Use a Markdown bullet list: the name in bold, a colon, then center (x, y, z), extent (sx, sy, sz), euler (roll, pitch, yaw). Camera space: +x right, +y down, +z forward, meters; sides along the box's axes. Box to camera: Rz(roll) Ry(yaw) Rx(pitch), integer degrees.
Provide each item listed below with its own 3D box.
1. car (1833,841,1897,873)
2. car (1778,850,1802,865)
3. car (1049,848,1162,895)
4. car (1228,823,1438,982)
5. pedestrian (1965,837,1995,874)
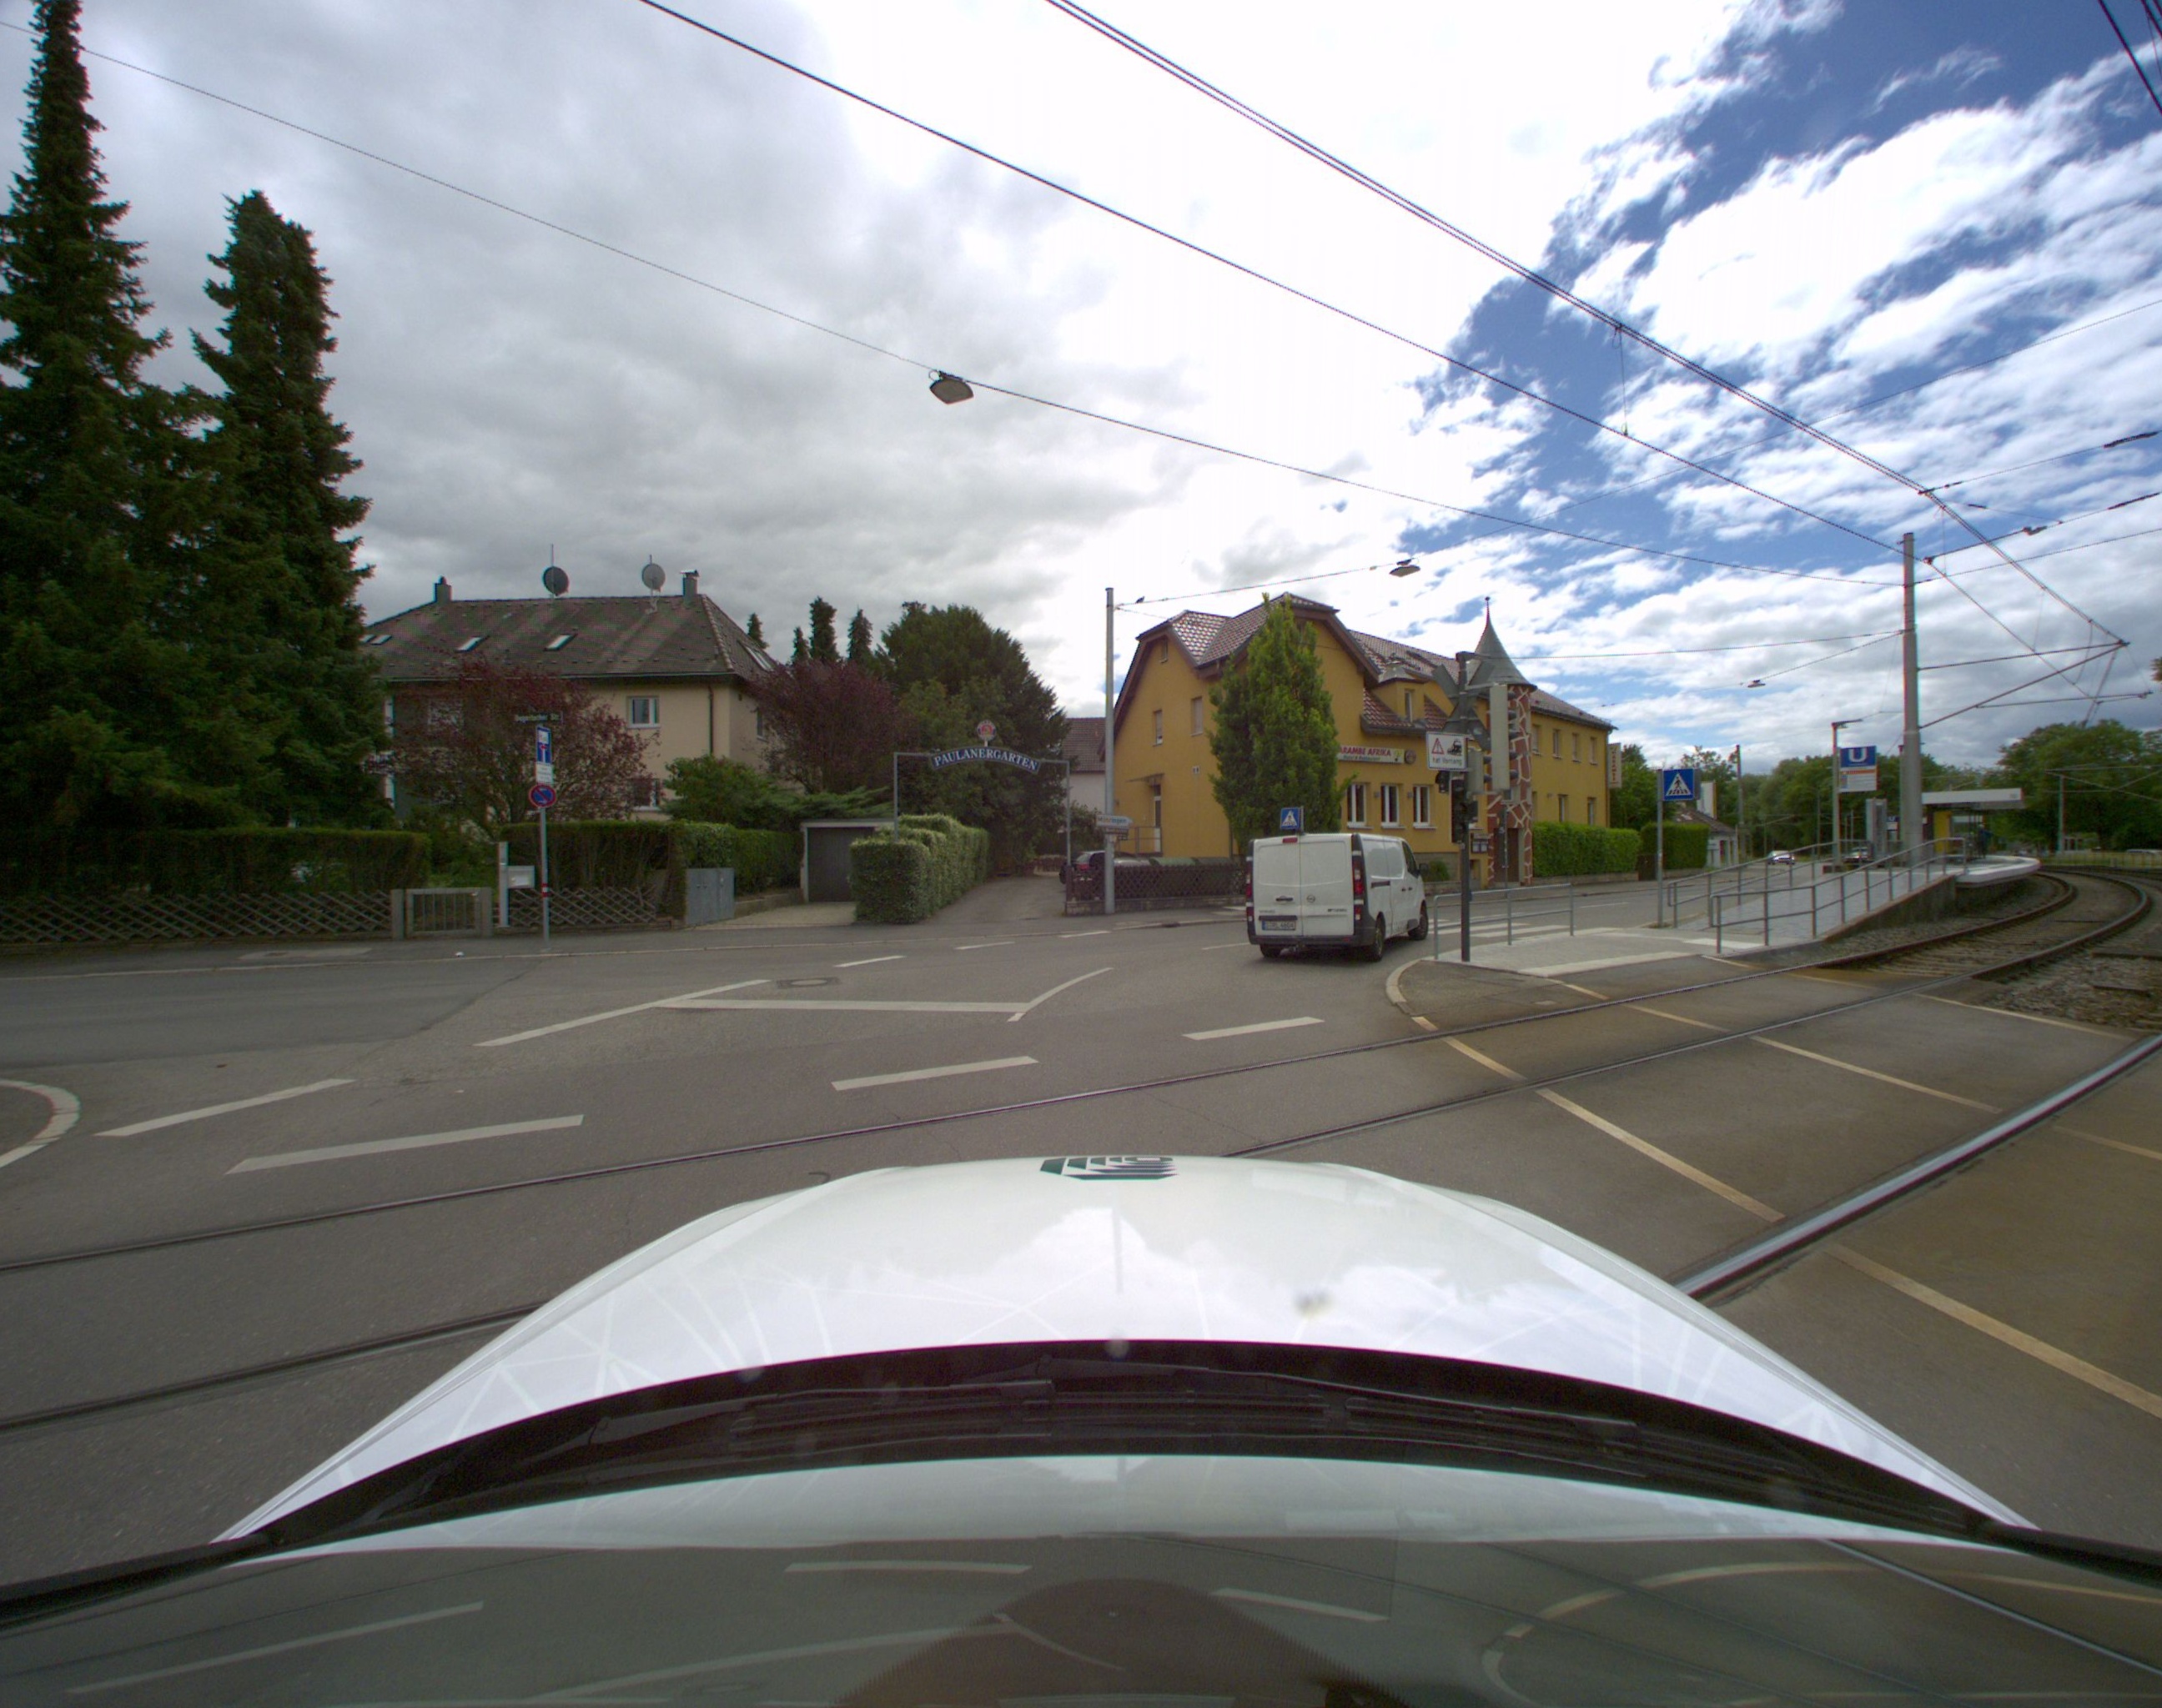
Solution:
- **car**: center (41.154, 0.166, 42.762), extent (2.334, 1.564, 4.398), euler (1, 1, 45)
- **car**: center (73.849, 0.391, 84.878), extent (1.801, 1.419, 4.491), euler (-4, -3, 41)
- **car**: center (0.882, 0.557, 28.864), extent (3.692, 1.427, 1.710), euler (-2, 3, -32)
- **car**: center (4.509, 0.629, 13.829), extent (2.096, 2.134, 5.475), euler (0, 0, 32)
- **pedestrian**: center (41.345, 0.052, 37.465), extent (0.914, 1.671, 0.878), euler (0, -1, -41)
